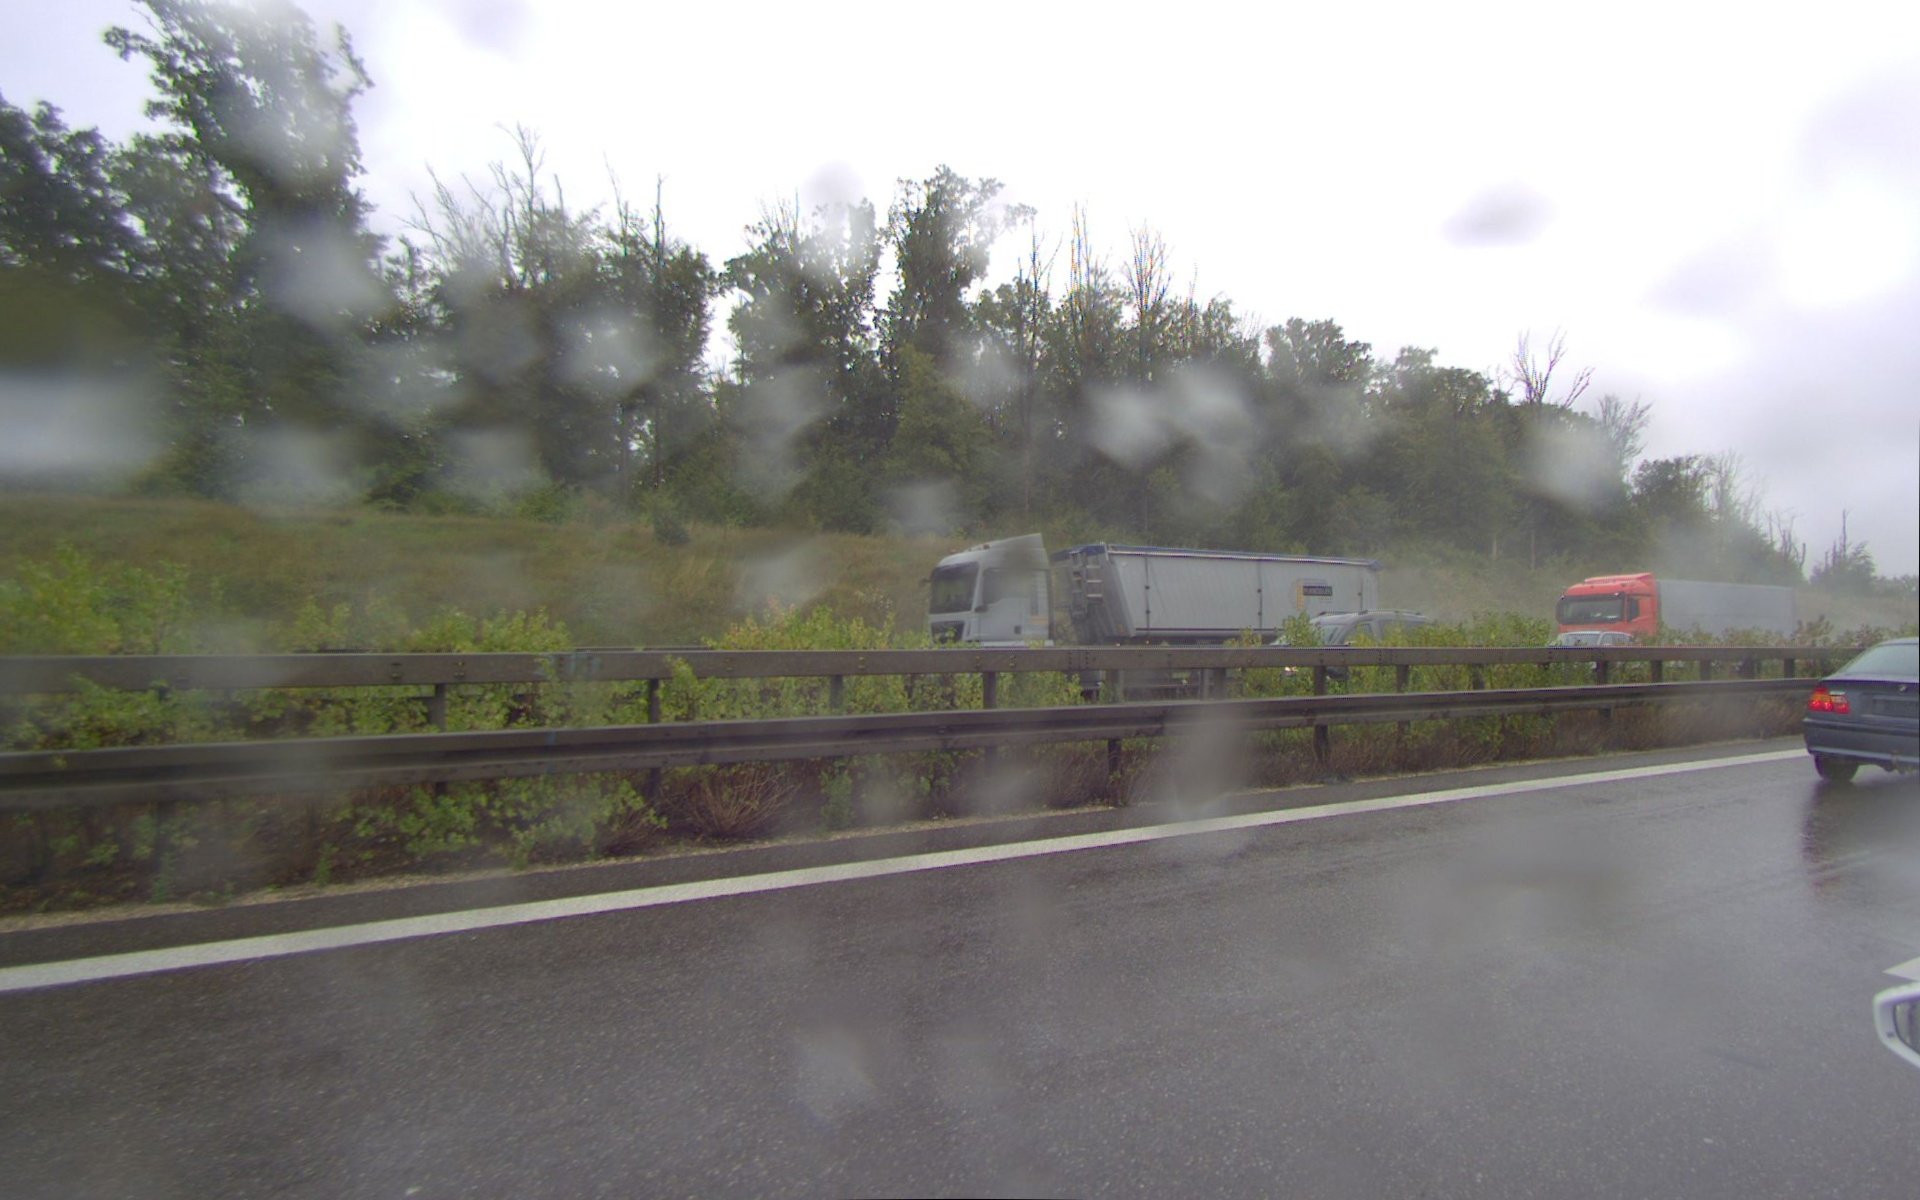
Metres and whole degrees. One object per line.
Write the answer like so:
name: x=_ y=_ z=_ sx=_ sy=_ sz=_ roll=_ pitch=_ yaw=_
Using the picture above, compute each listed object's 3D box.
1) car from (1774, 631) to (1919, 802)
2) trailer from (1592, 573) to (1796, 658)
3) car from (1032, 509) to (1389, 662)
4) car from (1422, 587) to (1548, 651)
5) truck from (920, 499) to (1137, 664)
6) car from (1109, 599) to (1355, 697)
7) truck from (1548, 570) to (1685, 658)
car: x=9.914 y=1.050 z=9.740 sx=4.178 sy=1.418 sz=1.710 roll=1 pitch=0 yaw=-29
trailer: x=30.843 y=0.714 z=41.990 sx=10.952 sy=3.193 sz=2.674 roll=2 pitch=0 yaw=-30
car: x=7.242 y=-0.228 z=27.879 sx=10.847 sy=3.659 sz=2.673 roll=2 pitch=0 yaw=-31
car: x=17.657 y=0.624 z=33.754 sx=3.953 sy=2.040 sz=1.984 roll=1 pitch=0 yaw=-30
truck: x=1.681 y=-0.364 z=24.571 sx=4.552 sy=3.659 sz=2.673 roll=2 pitch=0 yaw=-31
car: x=4.834 y=0.772 z=17.741 sx=4.035 sy=1.534 sz=1.983 roll=1 pitch=0 yaw=-32
truck: x=25.353 y=0.540 z=38.783 sx=4.552 sy=3.193 sz=2.673 roll=2 pitch=0 yaw=-31
